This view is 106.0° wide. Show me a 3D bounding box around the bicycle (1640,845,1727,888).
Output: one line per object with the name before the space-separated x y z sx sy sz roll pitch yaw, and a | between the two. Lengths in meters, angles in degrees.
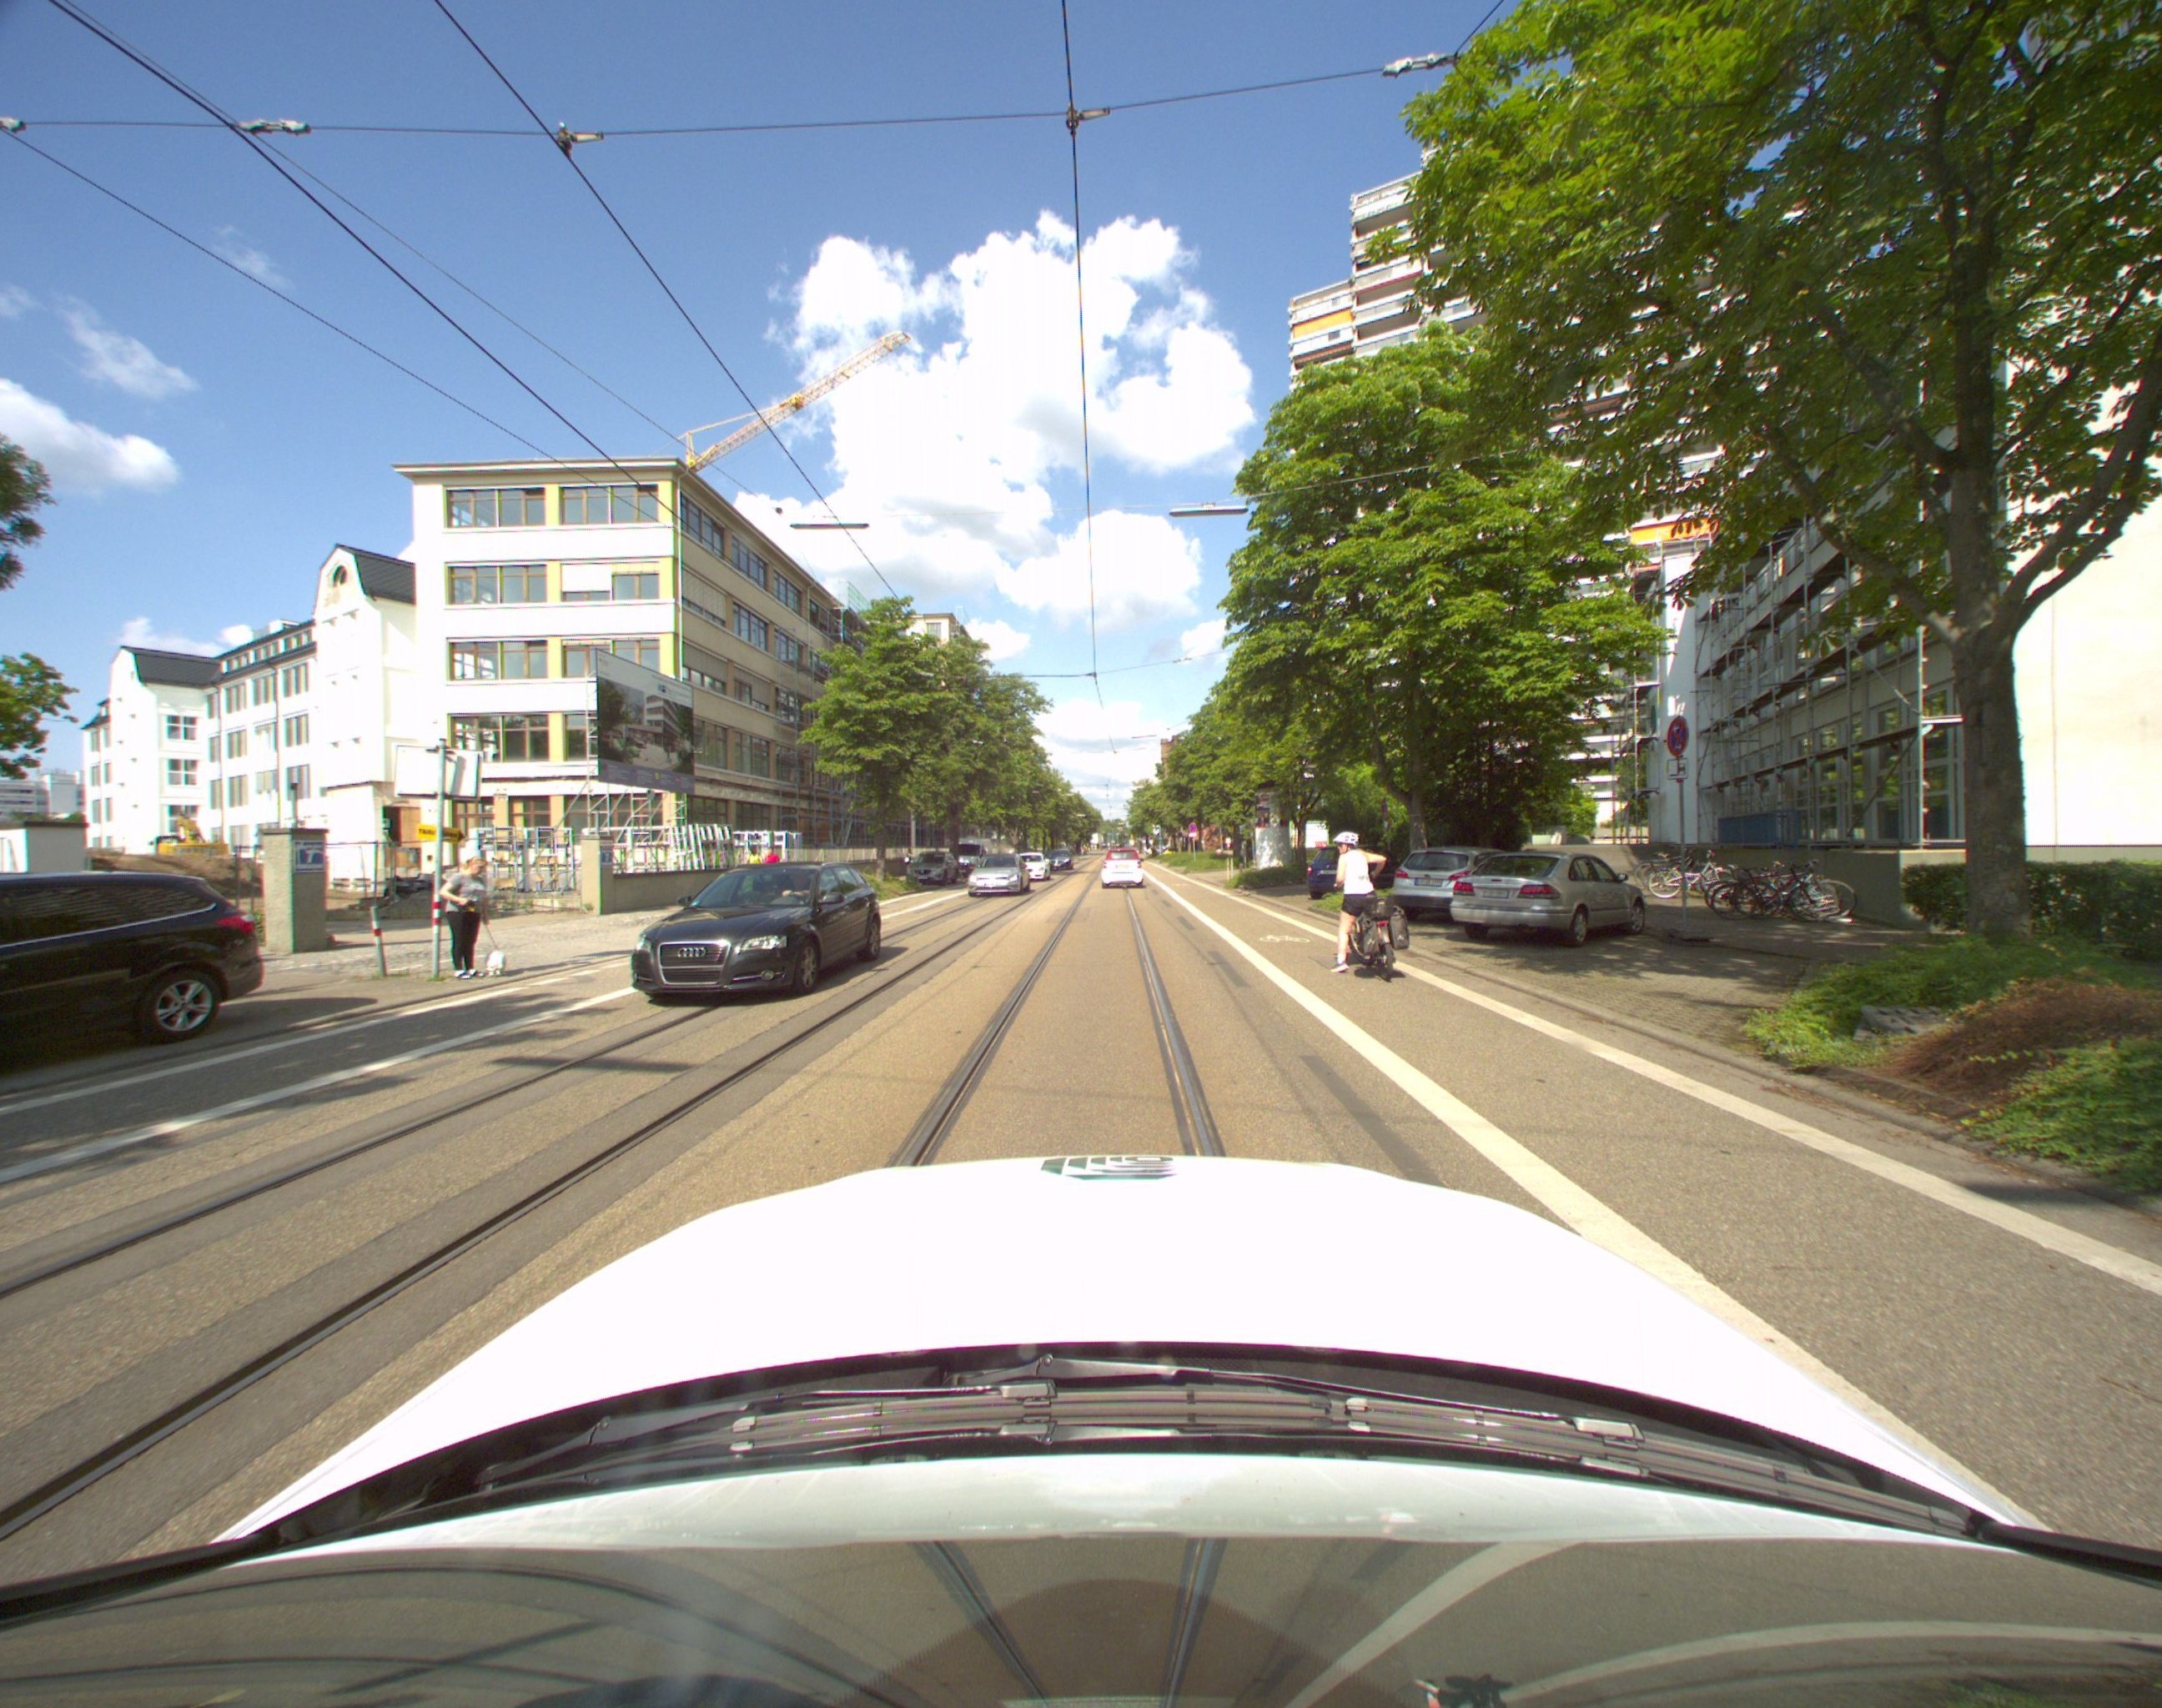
bicycle | 15.827 0.333 21.454 1.809 1.095 0.454 -1 1 33

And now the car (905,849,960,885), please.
car | -7.231 0.591 39.967 1.797 1.662 4.105 0 0 2

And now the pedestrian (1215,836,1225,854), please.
pedestrian | 15.169 -0.976 88.871 0.974 2.013 1.093 0 0 1

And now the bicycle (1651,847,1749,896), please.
bicycle | 14.703 0.418 19.391 1.809 1.095 0.454 -2 3 33

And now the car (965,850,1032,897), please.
car | -2.766 0.626 28.130 1.767 1.416 3.853 -3 0 1

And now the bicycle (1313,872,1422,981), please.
bicycle | 3.462 0.820 10.049 0.870 1.126 2.141 0 1 8

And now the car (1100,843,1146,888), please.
car | 1.619 0.412 32.337 1.659 1.624 3.621 -2 1 1

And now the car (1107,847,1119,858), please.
car | 4.431 -0.233 112.931 1.659 1.492 3.622 -1 0 1

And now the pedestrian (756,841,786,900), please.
pedestrian | -10.026 0.529 26.367 0.706 1.831 0.661 2 1 -4

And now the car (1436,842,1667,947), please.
car | 7.764 0.540 13.303 4.262 1.420 1.705 -1 1 -36

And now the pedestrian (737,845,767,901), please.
pedestrian | -10.610 0.608 26.313 0.706 1.793 0.661 0 0 -4

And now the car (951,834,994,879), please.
car | -6.656 0.162 50.633 1.762 2.639 5.325 0 0 2

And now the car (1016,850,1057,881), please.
car | -2.176 0.533 40.474 1.680 1.405 4.227 -2 0 1

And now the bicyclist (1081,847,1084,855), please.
bicyclist | 0.365 -0.599 171.551 0.656 1.579 0.946 0 0 0

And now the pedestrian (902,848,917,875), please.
pedestrian | -10.335 0.449 49.052 0.761 1.620 0.594 0 0 2

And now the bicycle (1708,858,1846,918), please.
bicycle | 12.860 0.637 15.116 1.877 1.053 0.454 -2 0 33

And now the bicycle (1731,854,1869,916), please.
bicycle | 13.452 0.588 15.306 1.877 1.096 0.454 -2 0 33

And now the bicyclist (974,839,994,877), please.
bicyclist | -5.219 0.219 43.923 0.873 2.014 0.834 -3 -1 1

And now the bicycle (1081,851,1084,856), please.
bicycle | 0.335 -0.169 171.604 0.616 0.973 1.718 -1 0 2

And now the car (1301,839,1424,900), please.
car | 8.050 0.395 23.129 4.023 1.486 1.596 -3 0 -44

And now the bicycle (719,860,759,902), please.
bicycle | -11.041 0.861 26.335 0.444 1.286 1.740 -1 0 4

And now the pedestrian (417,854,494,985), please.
pedestrian | -8.163 0.822 10.660 0.730 1.637 0.685 0 0 -32

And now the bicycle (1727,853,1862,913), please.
bicycle | 13.725 0.558 15.729 1.877 1.096 0.454 -2 0 33

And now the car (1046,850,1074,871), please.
car | -1.530 0.442 59.886 1.794 1.508 4.537 -1 0 1

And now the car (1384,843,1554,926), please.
car | 7.876 0.522 16.414 3.825 1.474 1.634 -1 1 -40

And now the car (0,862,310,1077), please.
car | -8.663 0.844 5.933 1.744 1.516 4.590 0 0 -1

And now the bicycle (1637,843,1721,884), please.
bicycle | 16.466 0.265 22.469 1.809 1.095 0.454 -1 1 33

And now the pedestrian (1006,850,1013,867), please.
pedestrian | -8.433 0.544 96.190 0.802 2.013 0.484 -1 0 -7

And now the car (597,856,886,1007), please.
car | -3.760 0.759 9.875 1.717 1.376 4.001 -2 0 1

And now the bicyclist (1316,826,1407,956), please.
bicyclist | 3.467 0.436 10.173 0.885 1.528 1.087 0 0 8
